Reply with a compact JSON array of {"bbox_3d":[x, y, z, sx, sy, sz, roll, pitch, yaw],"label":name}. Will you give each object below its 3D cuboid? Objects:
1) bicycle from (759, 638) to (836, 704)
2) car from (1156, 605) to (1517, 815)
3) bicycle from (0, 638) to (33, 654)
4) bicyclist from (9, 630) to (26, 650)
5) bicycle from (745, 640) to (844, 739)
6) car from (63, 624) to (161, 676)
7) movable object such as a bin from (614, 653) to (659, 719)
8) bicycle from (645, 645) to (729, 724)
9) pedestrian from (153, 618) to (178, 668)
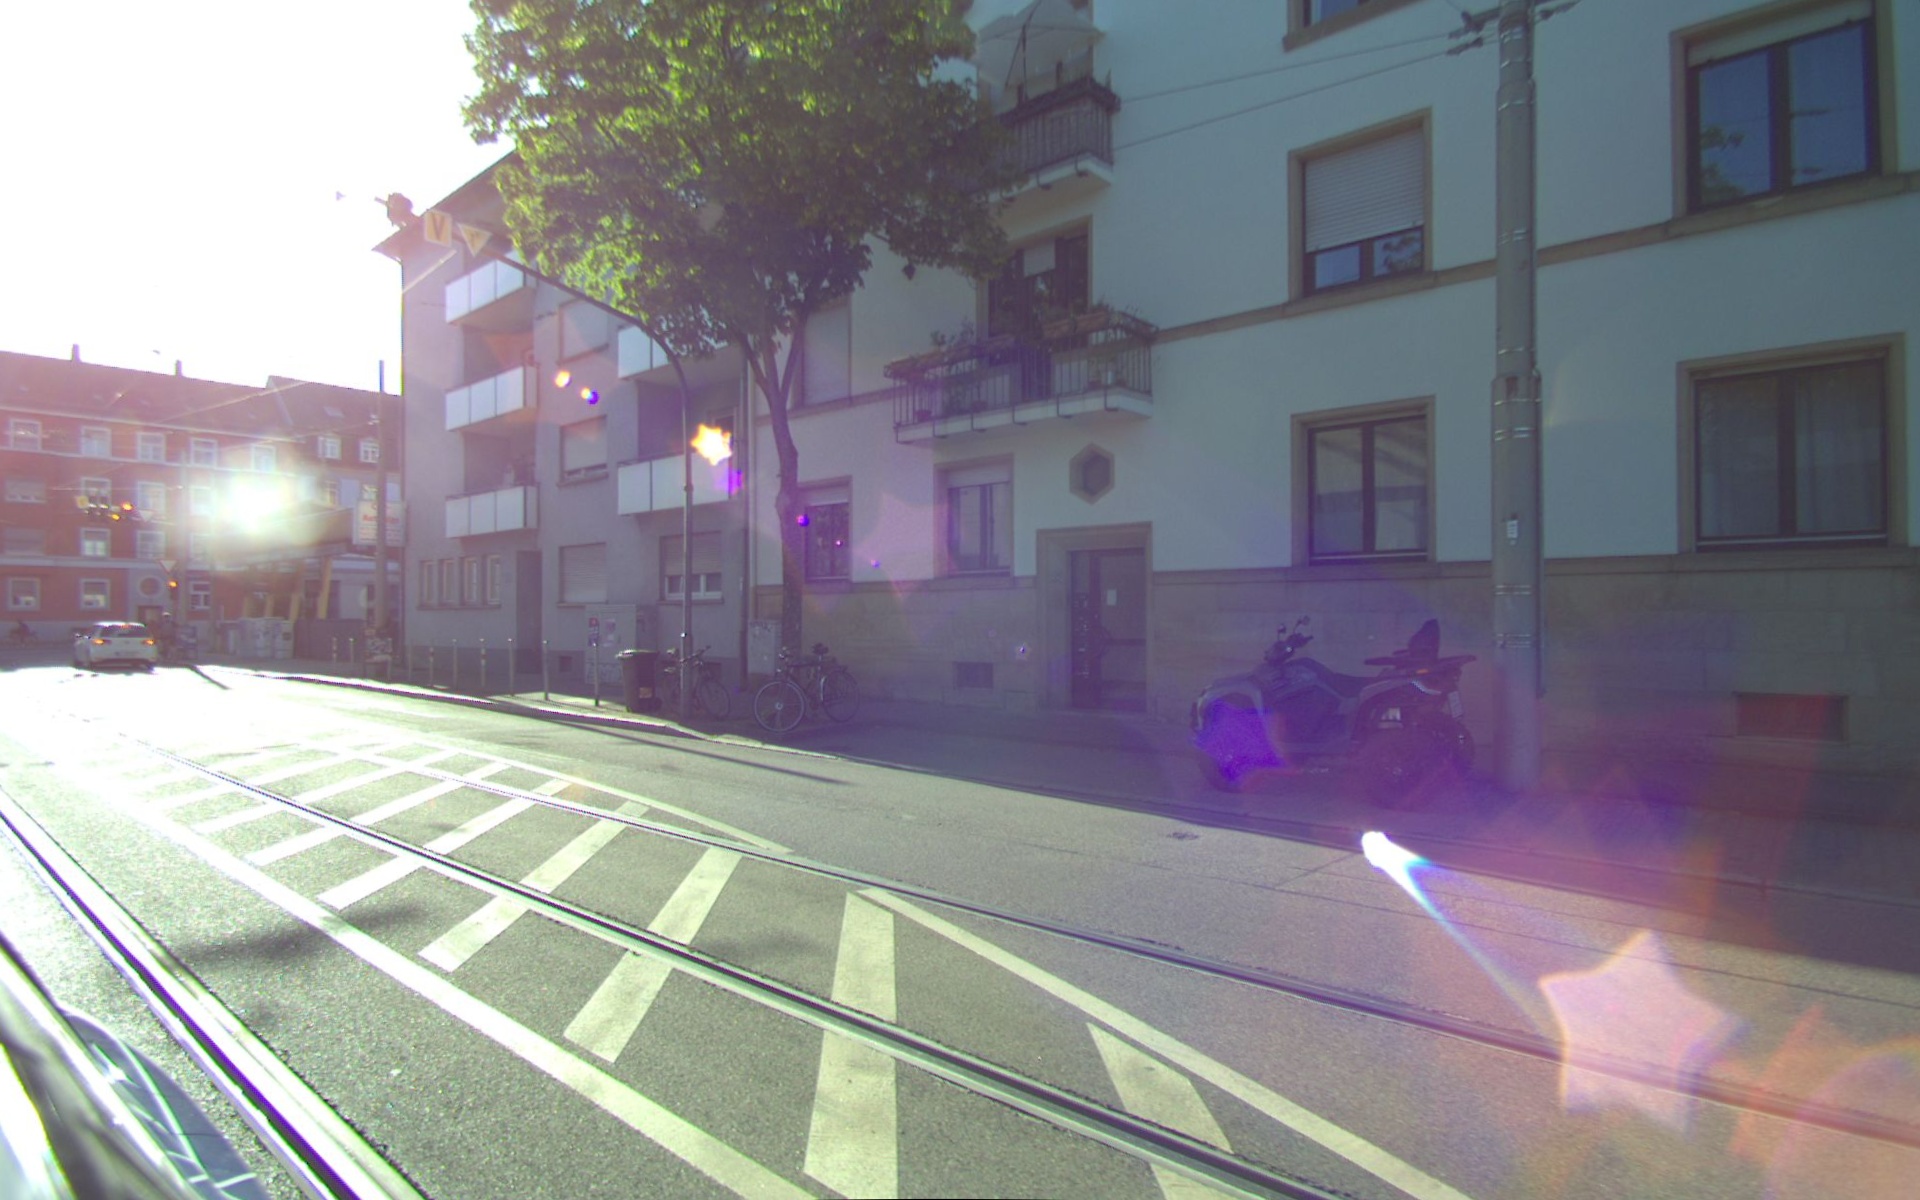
[{"bbox_3d":[-2.784,1.182,17.251,1.661,1.050,0.299,-1,0,42],"label":"bicycle"},{"bbox_3d":[3.190,0.881,8.755,2.546,1.514,1.341,-5,-3,42],"label":"car"},{"bbox_3d":[-58.098,2.818,62.170,1.649,0.956,0.556,-1,0,-32],"label":"bicycle"},{"bbox_3d":[-57.962,2.457,62.263,0.657,1.233,0.556,-1,0,-32],"label":"bicyclist"},{"bbox_3d":[-2.162,1.148,13.345,0.409,1.178,1.326,-1,0,42],"label":"bicycle"},{"bbox_3d":[-27.596,1.566,32.904,3.999,1.536,1.898,-1,0,42],"label":"car"},{"bbox_3d":[-4.939,1.305,15.444,0.582,0.942,0.420,-1,0,42],"label":"movable object such as a bin"},{"bbox_3d":[-3.939,1.189,14.536,1.661,1.050,0.299,-1,0,42],"label":"bicycle"},{"bbox_3d":[-28.849,1.564,36.750,0.583,1.787,0.631,-1,0,41],"label":"pedestrian"}]
